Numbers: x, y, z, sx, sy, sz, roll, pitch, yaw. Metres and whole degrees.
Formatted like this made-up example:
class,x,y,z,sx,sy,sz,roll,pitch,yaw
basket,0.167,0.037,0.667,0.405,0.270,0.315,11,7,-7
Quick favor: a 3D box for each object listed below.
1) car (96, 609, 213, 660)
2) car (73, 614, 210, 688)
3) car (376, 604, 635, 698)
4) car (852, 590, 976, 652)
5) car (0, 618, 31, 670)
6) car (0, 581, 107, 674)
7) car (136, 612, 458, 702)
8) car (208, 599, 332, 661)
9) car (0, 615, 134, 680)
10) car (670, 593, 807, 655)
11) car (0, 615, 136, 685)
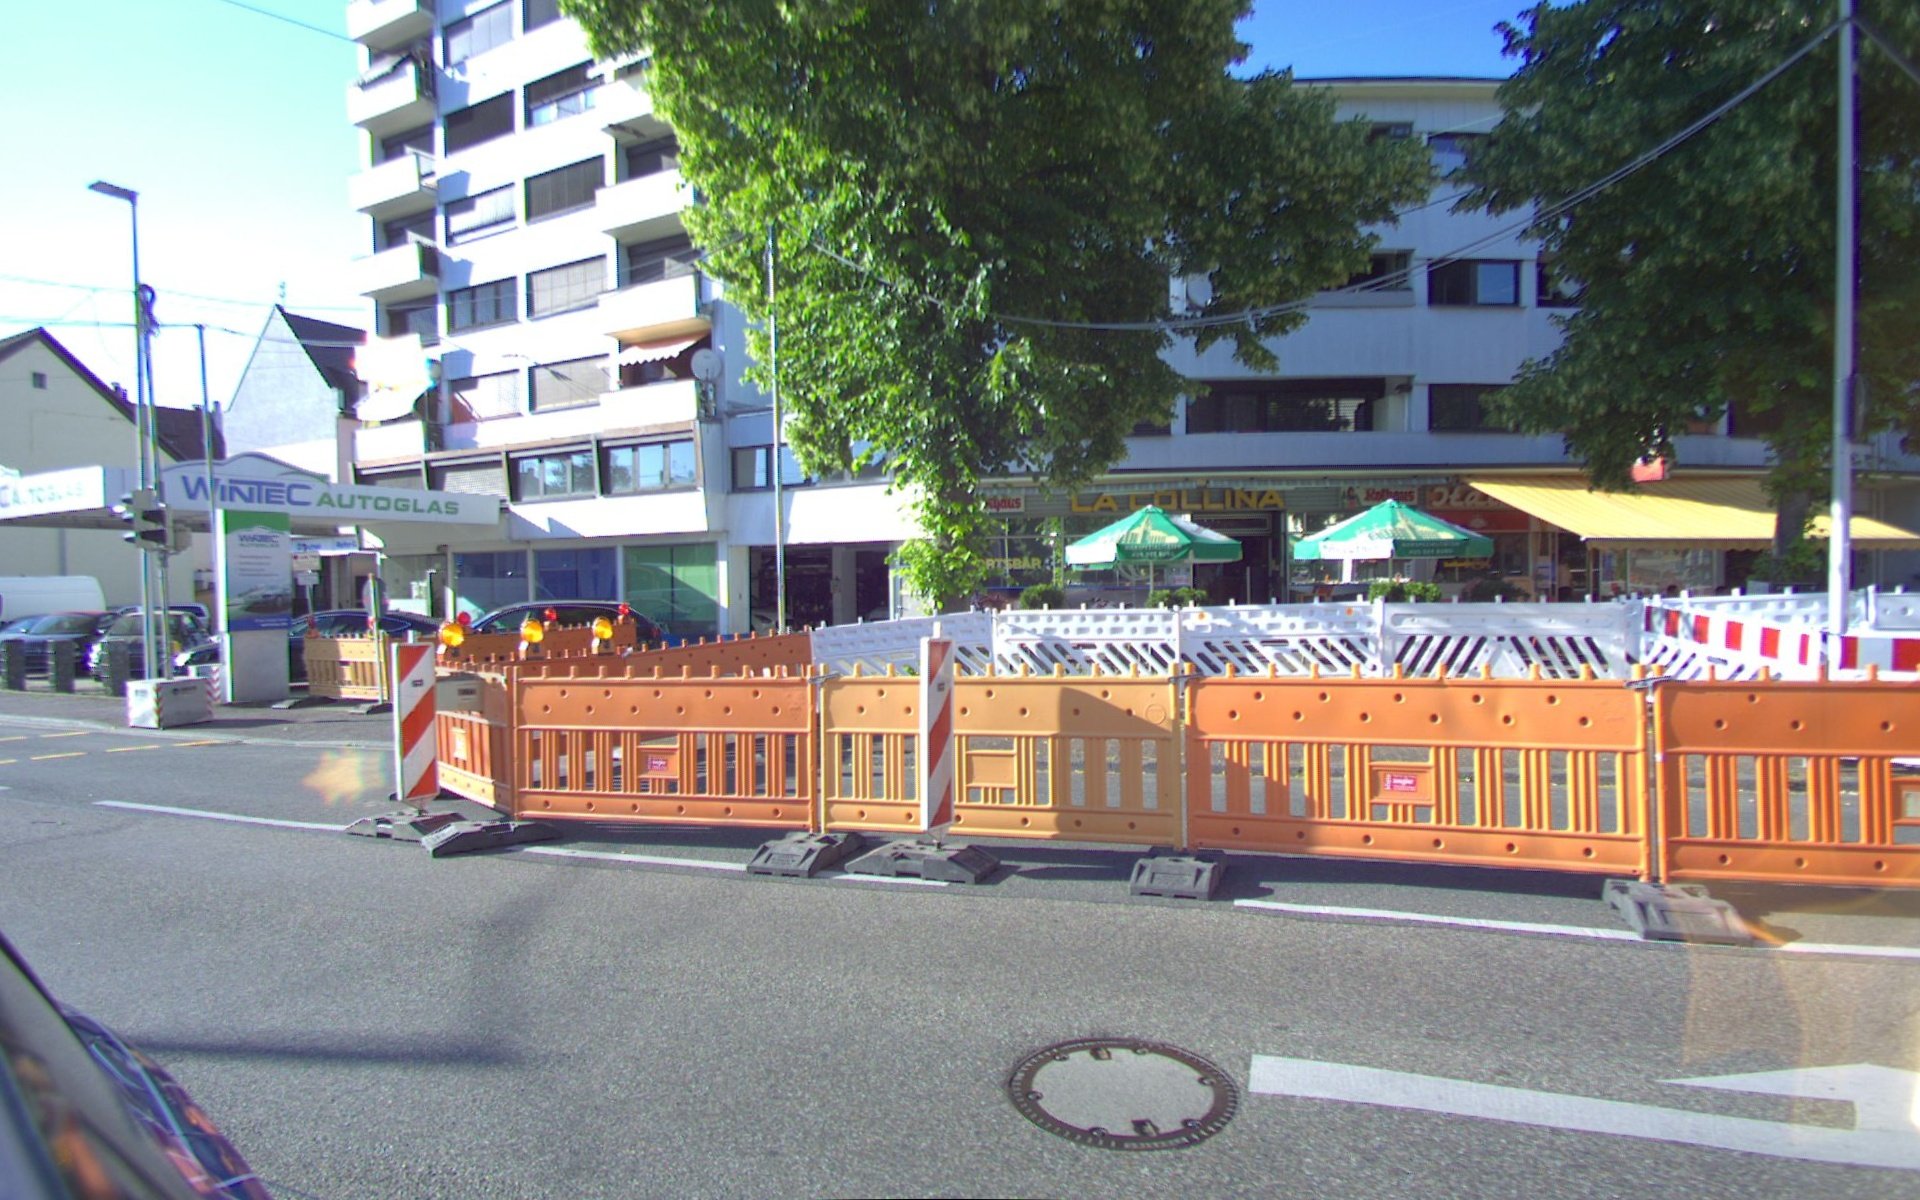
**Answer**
class,x,y,z,sx,sy,sz,roll,pitch,yaw
car,-34.178,1.424,43.025,1.444,2.029,3.640,-1,0,27
car,-18.827,1.112,23.423,1.515,1.497,3.384,-1,0,-22
car,-7.807,0.810,17.569,3.823,1.449,1.598,0,-1,-41
car,-1.276,0.561,29.353,1.569,1.620,3.709,-1,1,37
car,-29.169,1.329,28.811,1.719,1.488,4.029,-1,0,1
car,-26.518,0.745,27.500,2.090,2.472,4.981,-1,0,7
car,-11.922,0.990,18.600,4.608,1.449,1.938,-1,-1,-19
car,-23.161,0.986,33.951,4.240,1.958,1.726,-1,0,29
car,-24.147,1.192,26.501,1.719,1.508,4.029,-1,0,1
car,-6.357,0.681,29.019,3.613,1.686,1.708,-1,0,27
car,-21.722,1.152,24.621,1.567,1.508,3.447,-1,0,-21
